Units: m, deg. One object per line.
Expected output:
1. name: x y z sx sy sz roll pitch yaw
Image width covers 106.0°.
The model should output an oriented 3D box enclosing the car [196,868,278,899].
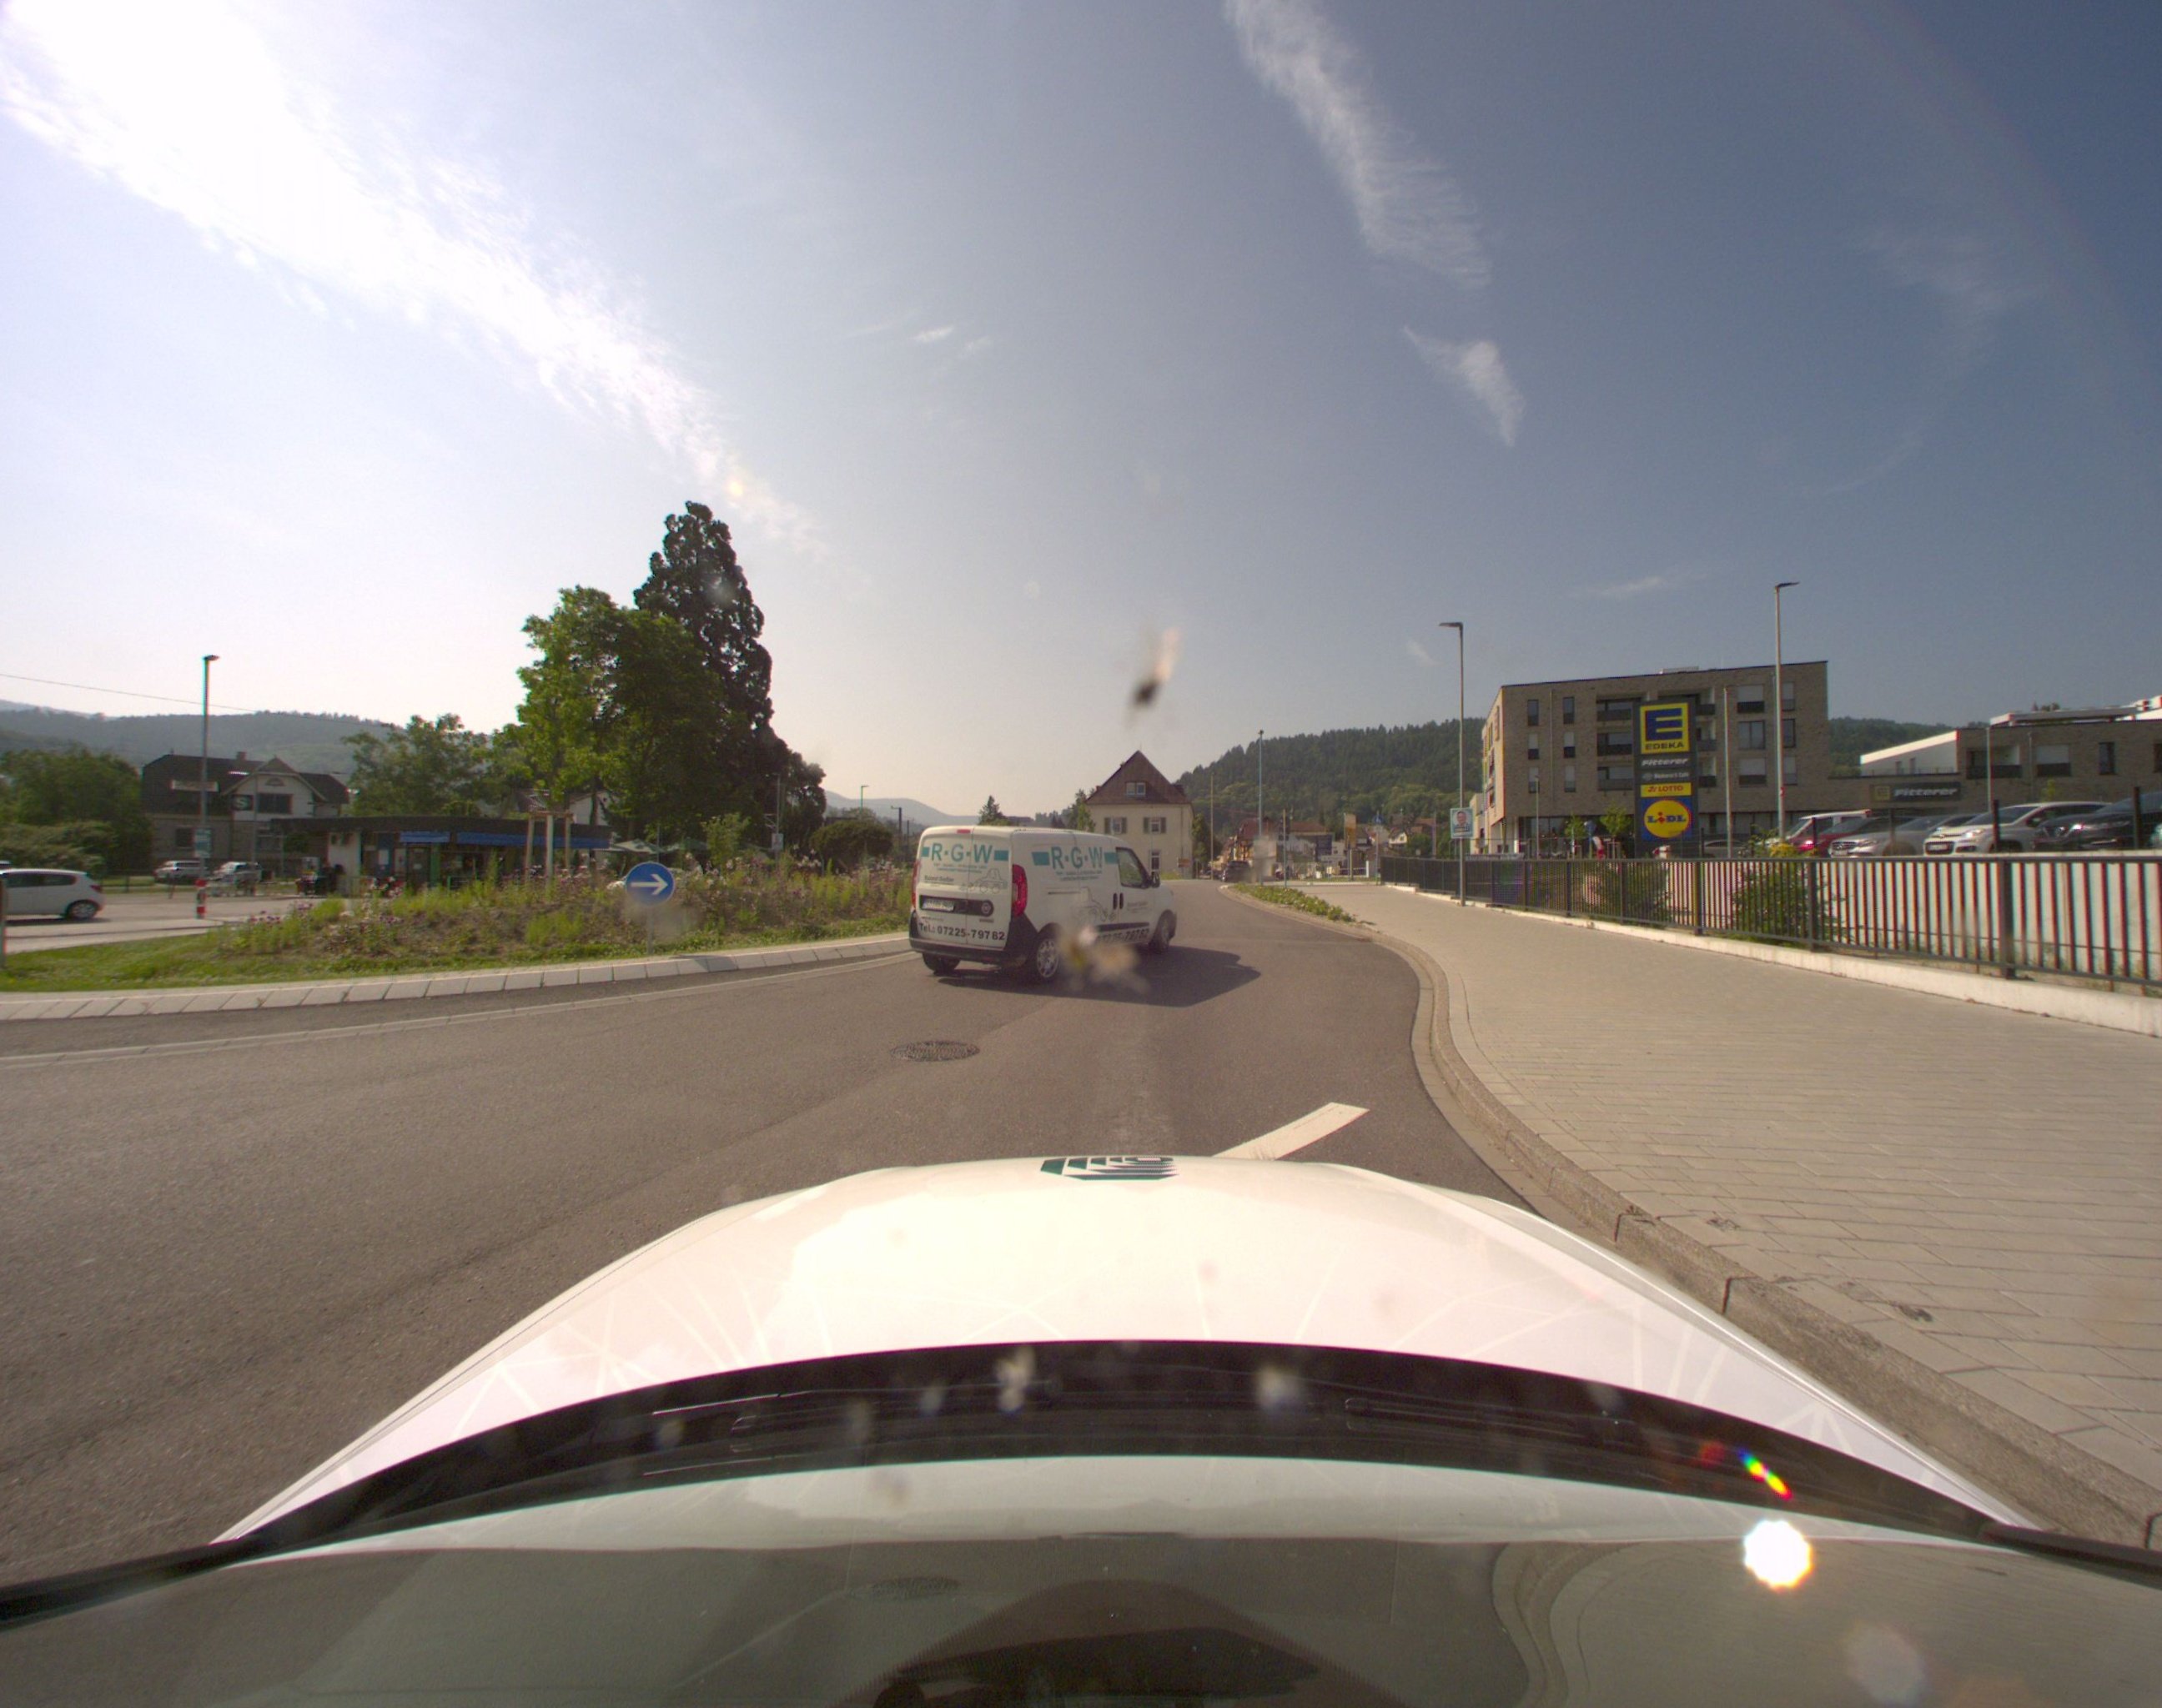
1. car: -37.564 1.292 36.246 3.551 1.326 1.424 -1 -1 25

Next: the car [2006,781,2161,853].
1. car: 21.402 -0.710 16.076 4.013 1.342 1.664 0 -1 9

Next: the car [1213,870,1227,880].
1. car: 14.140 2.175 82.675 1.298 1.003 3.099 -1 -2 10

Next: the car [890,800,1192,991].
1. car: -0.273 0.457 11.300 1.789 2.078 4.633 1 0 32

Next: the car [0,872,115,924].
1. car: -30.622 1.247 23.348 1.375 1.450 3.558 -1 -1 29

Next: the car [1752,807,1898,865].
1. car: 29.889 -0.667 32.901 3.949 2.136 2.012 -2 -2 30

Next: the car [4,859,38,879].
1. car: -75.135 1.072 57.726 3.491 1.364 1.401 -1 -1 37

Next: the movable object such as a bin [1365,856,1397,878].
1. movable object such as a bin: 25.863 1.154 70.254 2.424 1.844 1.435 -1 -2 18

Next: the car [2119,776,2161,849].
1. car: 20.598 -0.737 13.472 4.254 1.246 1.668 0 -1 8

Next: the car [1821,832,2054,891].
1. car: 22.659 0.223 21.705 4.030 1.487 1.722 0 -1 11

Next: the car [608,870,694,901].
1. car: -17.197 1.237 32.733 1.380 1.172 3.250 0 -1 8

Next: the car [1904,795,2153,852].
1. car: 21.933 -0.681 19.000 3.534 1.199 1.718 0 -1 9

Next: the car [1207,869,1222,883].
1. car: 19.757 3.220 120.658 1.981 2.014 4.011 -1 -2 11

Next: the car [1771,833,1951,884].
1. car: 23.049 0.140 24.193 3.534 1.430 1.715 0 -1 9

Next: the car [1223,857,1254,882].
1. car: 11.229 1.120 57.994 1.867 1.684 4.015 -1 -2 15

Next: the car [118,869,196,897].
1. car: -42.970 1.347 37.869 3.226 1.267 1.459 -2 -2 23
